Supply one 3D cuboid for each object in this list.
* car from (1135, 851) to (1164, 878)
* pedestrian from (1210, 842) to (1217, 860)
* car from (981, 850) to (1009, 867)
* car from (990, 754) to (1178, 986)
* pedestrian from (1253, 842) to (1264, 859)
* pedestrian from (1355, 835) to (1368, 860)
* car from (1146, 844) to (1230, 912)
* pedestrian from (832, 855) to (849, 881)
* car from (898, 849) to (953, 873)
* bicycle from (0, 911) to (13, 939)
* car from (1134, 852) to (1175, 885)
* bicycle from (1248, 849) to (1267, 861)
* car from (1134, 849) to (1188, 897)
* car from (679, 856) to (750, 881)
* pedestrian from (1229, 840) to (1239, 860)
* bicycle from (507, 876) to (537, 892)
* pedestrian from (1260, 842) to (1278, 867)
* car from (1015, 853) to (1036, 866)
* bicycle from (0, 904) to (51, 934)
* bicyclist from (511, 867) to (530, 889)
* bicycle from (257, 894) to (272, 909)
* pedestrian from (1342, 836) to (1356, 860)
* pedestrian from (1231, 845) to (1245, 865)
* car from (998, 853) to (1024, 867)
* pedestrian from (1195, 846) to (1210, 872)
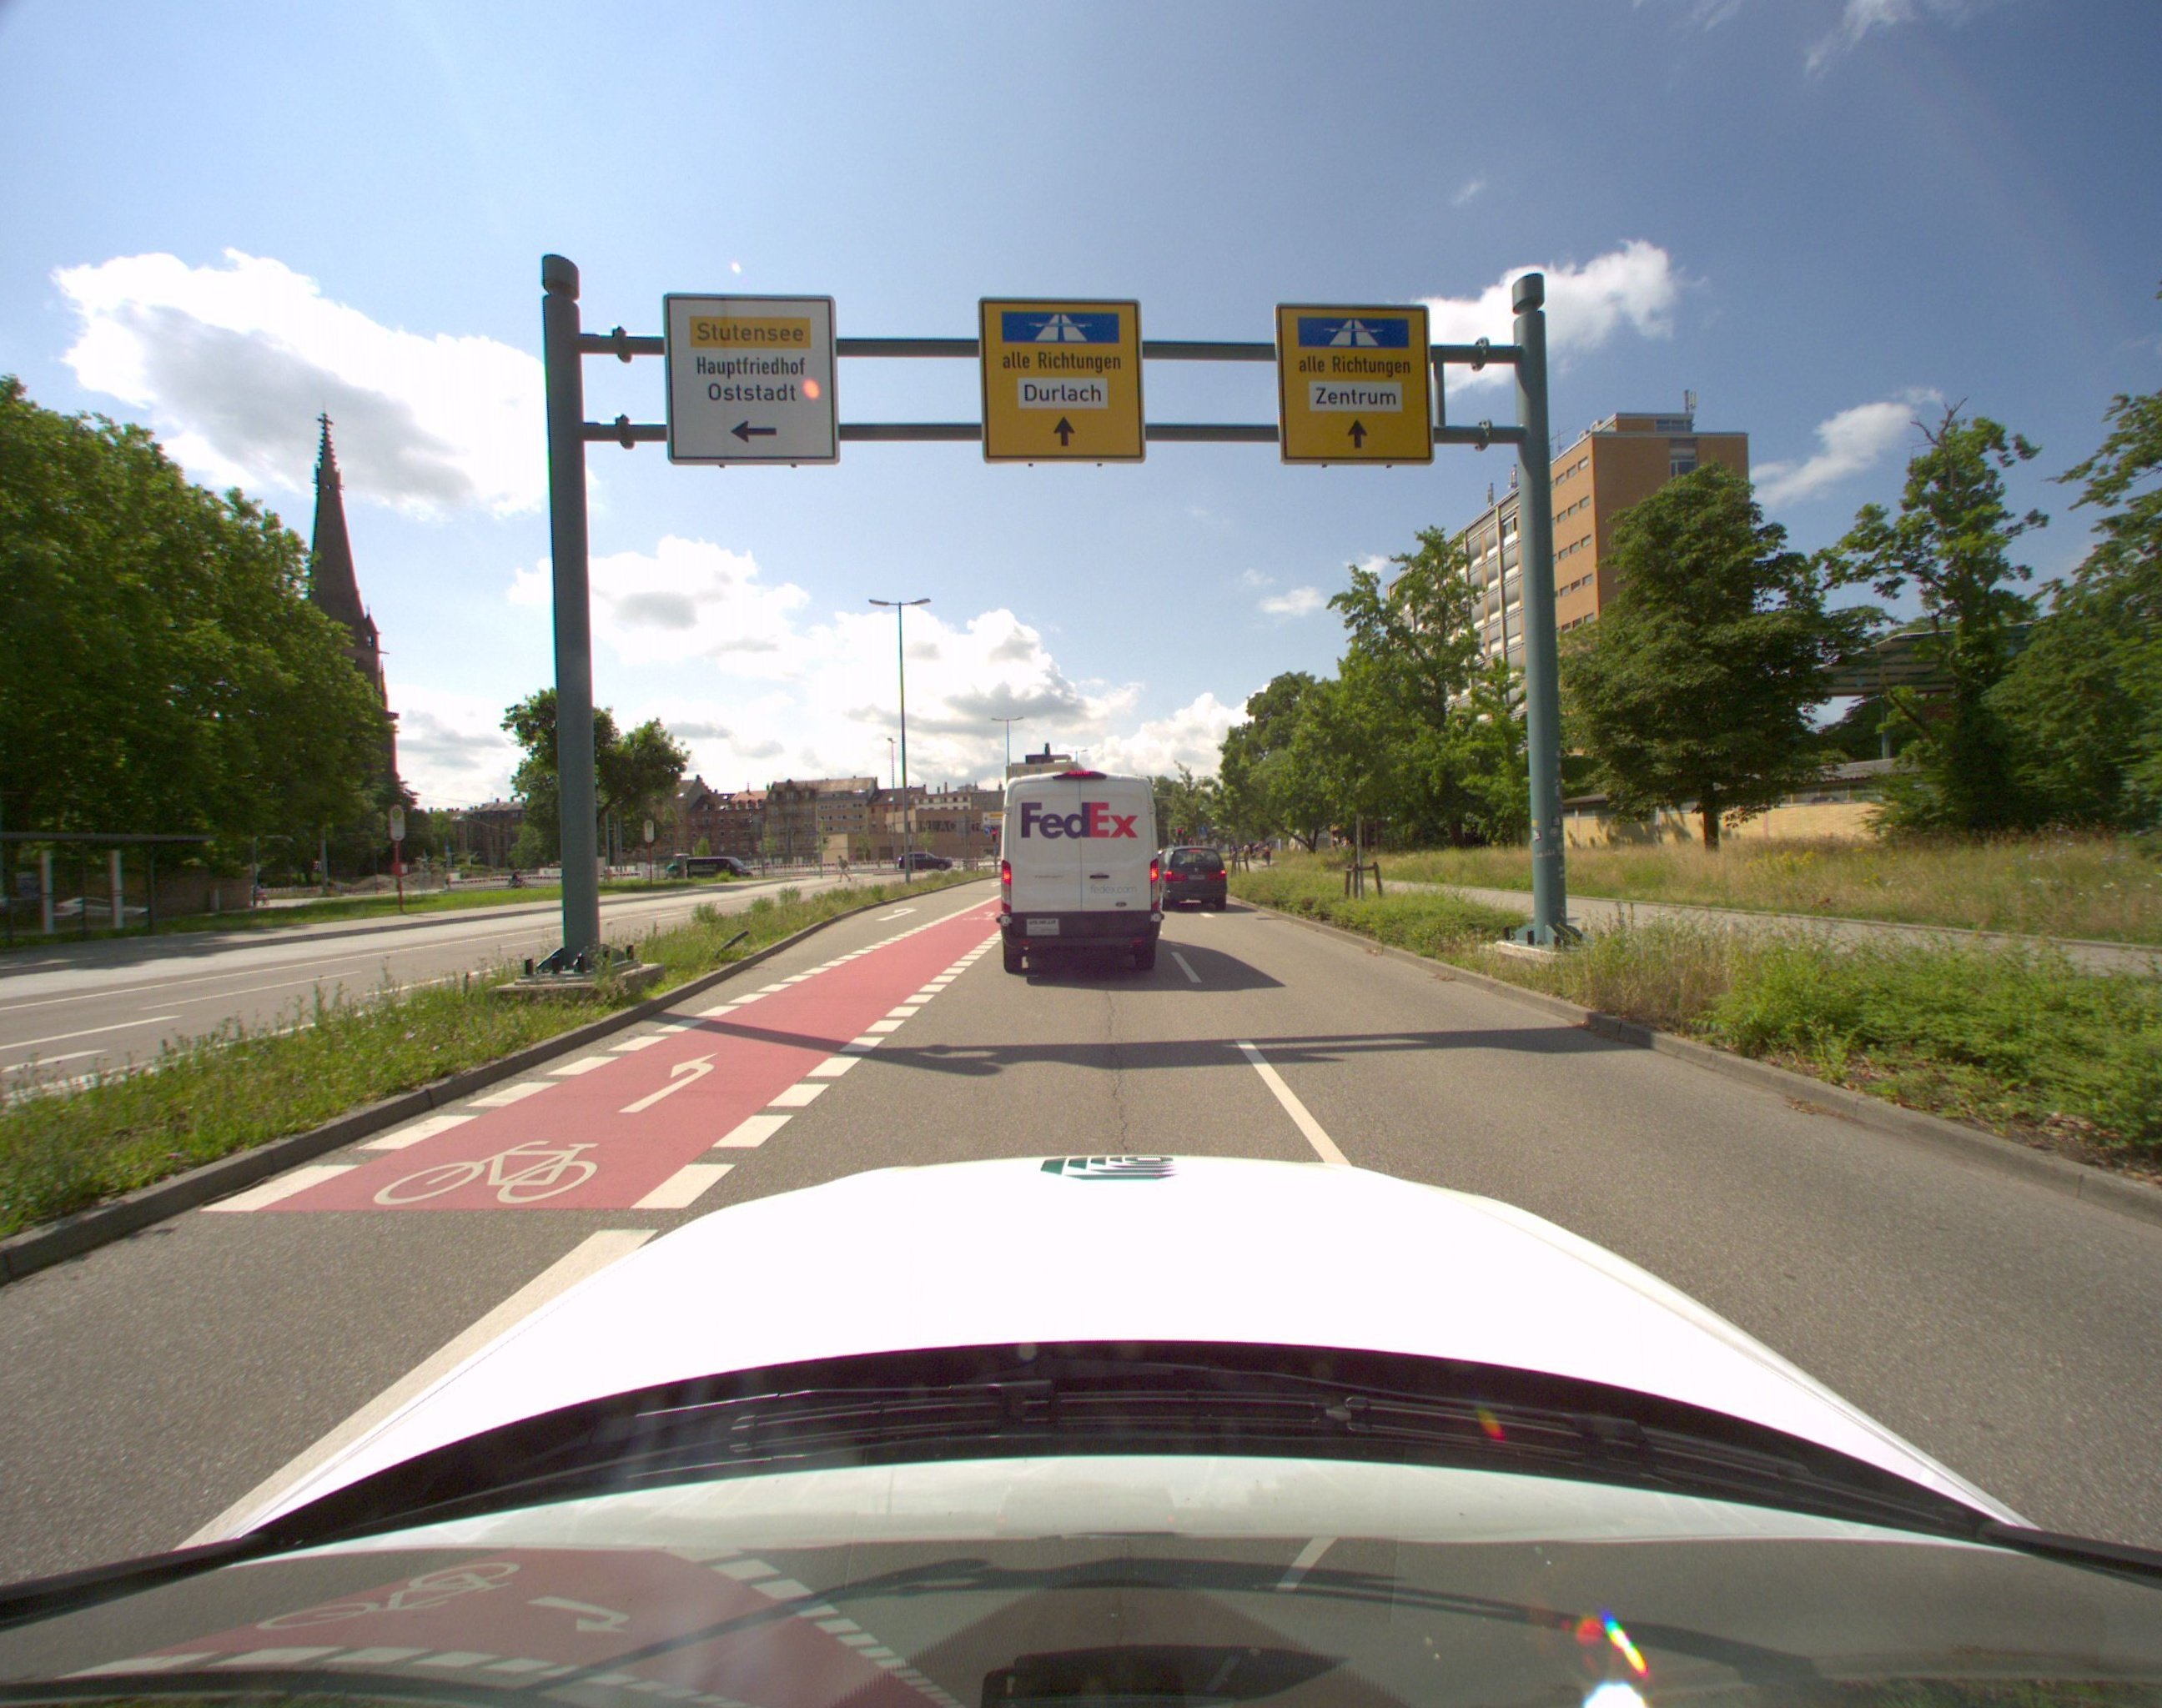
[{"bbox_3d":[3.935,0.561,46.867,1.478,1.428,3.435,-2,0,2],"label":"car"},{"bbox_3d":[13.885,-0.348,85.510,0.572,1.892,0.679,-2,0,0],"label":"pedestrian"},{"bbox_3d":[-10.713,0.572,101.731,1.979,2.014,4.016,-2,-1,15],"label":"car"},{"bbox_3d":[-0.125,0.174,12.330,2.136,2.652,5.696,-1,0,-4],"label":"car"},{"bbox_3d":[15.518,-0.306,71.153,0.891,1.472,0.488,-2,0,19],"label":"pedestrian"},{"bbox_3d":[23.716,-0.568,68.894,0.837,2.058,0.745,-2,0,28],"label":"pedestrian"},{"bbox_3d":[2.945,0.605,23.245,1.806,1.734,4.388,-1,0,0],"label":"car"},{"bbox_3d":[-14.963,0.849,50.663,0.879,1.560,0.549,-2,0,-35],"label":"pedestrian"},{"bbox_3d":[-14.166,0.642,74.549,4.620,2.014,2.096,-2,-1,-5],"label":"car"},{"bbox_3d":[-35.018,2.308,25.835,0.545,0.902,1.654,-2,0,-20],"label":"bicycle"},{"bbox_3d":[3.511,0.653,39.436,1.790,1.461,3.840,-2,0,2],"label":"car"},{"bbox_3d":[15.441,0.088,71.146,1.557,0.955,0.488,-2,0,19],"label":"bicycle"},{"bbox_3d":[3.019,0.668,31.265,1.790,1.687,4.003,-2,0,2],"label":"car"},{"bbox_3d":[-30.768,1.231,68.400,4.997,1.879,1.927,-2,0,-3],"label":"car"},{"bbox_3d":[15.020,-0.374,80.000,0.671,1.892,0.579,-2,0,44],"label":"pedestrian"},{"bbox_3d":[-48.302,2.624,70.382,2.062,1.290,0.603,-2,0,-7],"label":"bicycle"},{"bbox_3d":[11.767,0.018,51.008,0.842,1.539,0.835,-2,0,0],"label":"pedestrian"},{"bbox_3d":[-7.260,0.698,106.720,1.868,1.652,4.010,-2,0,9],"label":"car"},{"bbox_3d":[-36.003,2.211,27.657,0.546,0.902,1.651,-2,0,-25],"label":"bicycle"},{"bbox_3d":[-48.401,2.080,70.370,1.118,1.844,0.592,-2,0,-7],"label":"bicyclist"},{"bbox_3d":[-51.183,2.984,51.023,1.644,0.902,0.549,-2,0,42],"label":"bicycle"},{"bbox_3d":[23.051,-0.538,70.050,0.740,2.058,0.843,-2,0,-16],"label":"pedestrian"},{"bbox_3d":[11.174,0.055,58.062,0.842,1.389,0.741,-2,0,0],"label":"pedestrian"},{"bbox_3d":[-8.665,0.706,100.531,1.887,1.585,4.016,-2,0,15],"label":"car"},{"bbox_3d":[9.241,0.376,61.946,0.947,1.892,0.774,-2,0,0],"label":"pedestrian"}]
